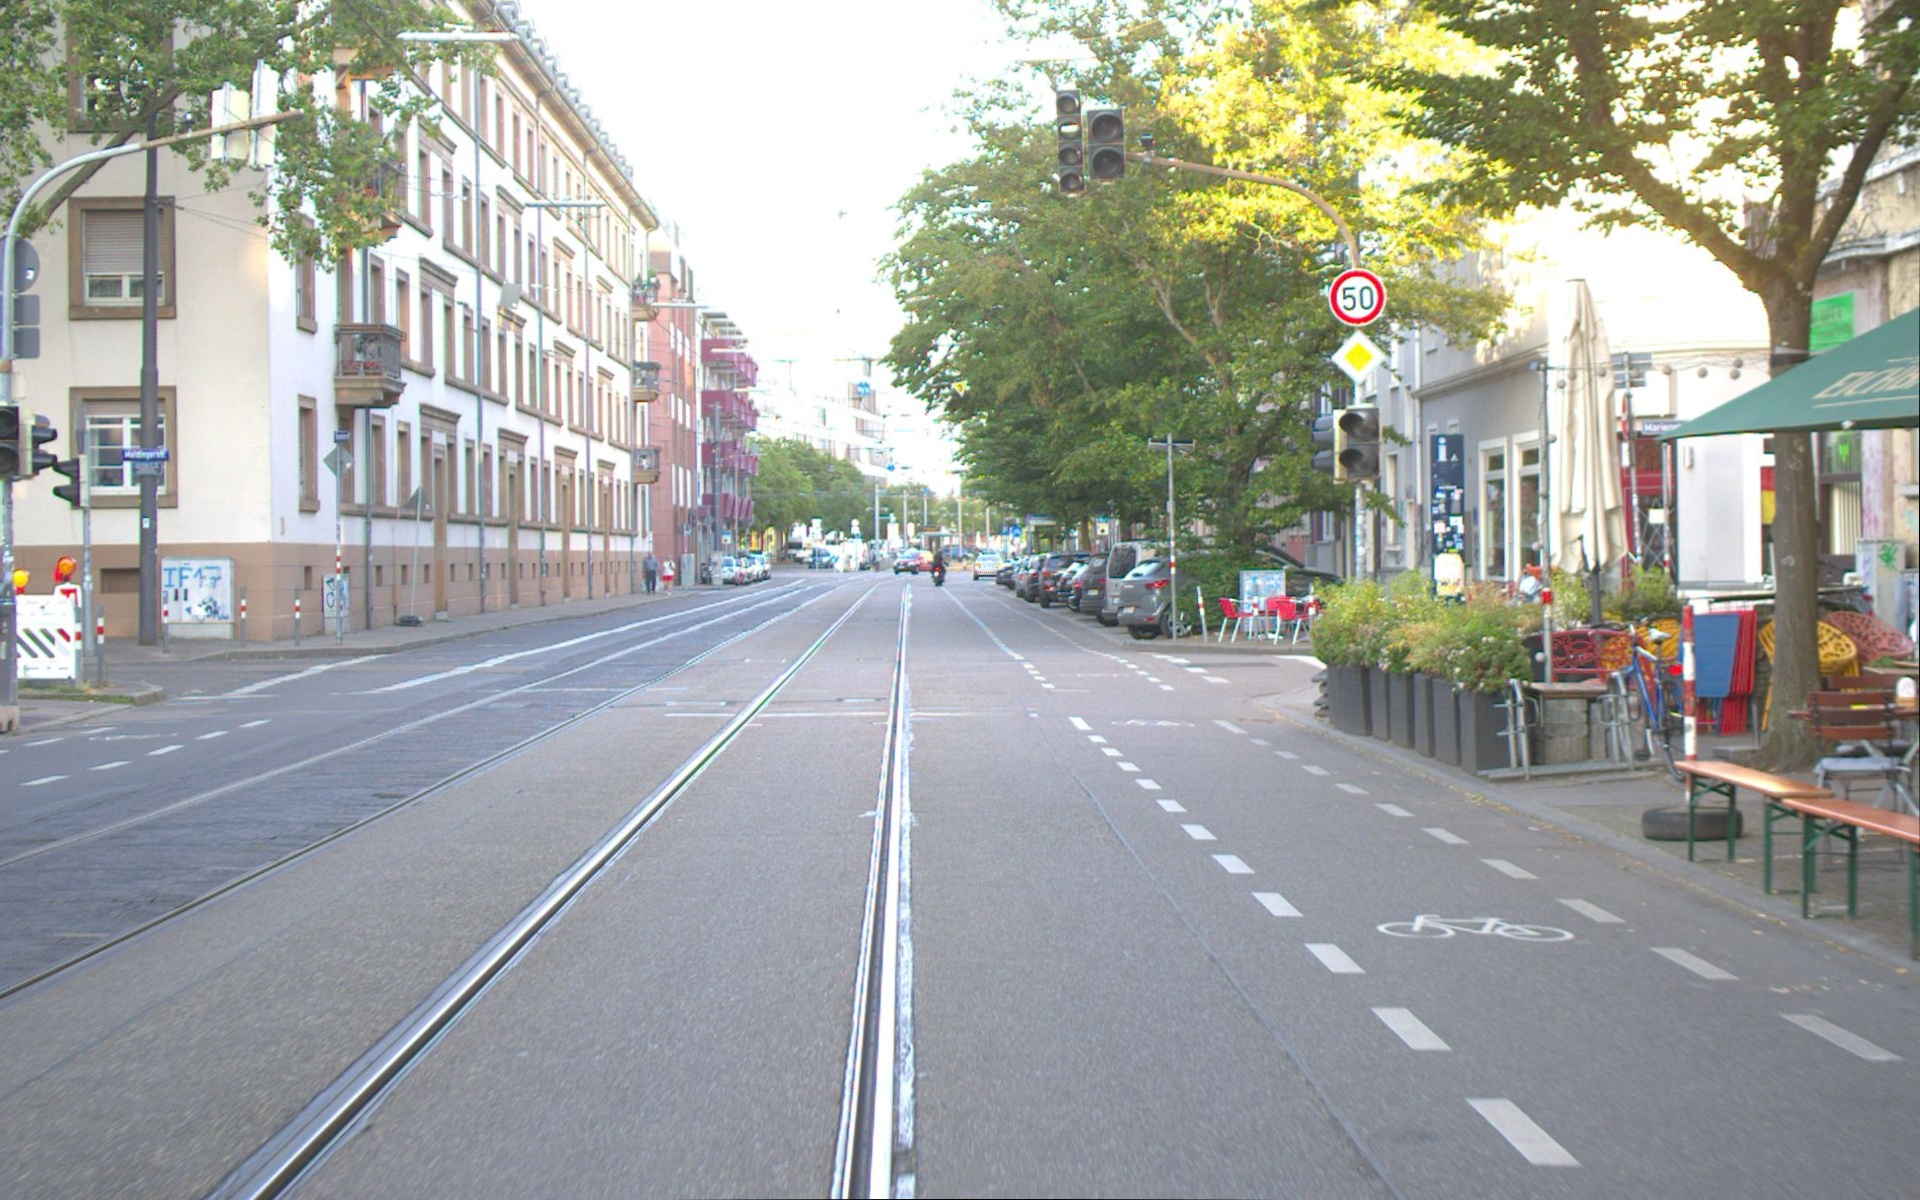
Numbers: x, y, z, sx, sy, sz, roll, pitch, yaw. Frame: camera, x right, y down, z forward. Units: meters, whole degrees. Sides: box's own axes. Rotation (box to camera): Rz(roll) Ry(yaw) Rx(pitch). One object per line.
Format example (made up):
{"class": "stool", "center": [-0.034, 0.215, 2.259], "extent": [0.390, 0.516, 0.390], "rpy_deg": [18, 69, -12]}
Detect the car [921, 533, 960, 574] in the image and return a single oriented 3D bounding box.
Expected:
{"class": "car", "center": [-0.982, -2.292, 169.319], "extent": [1.898, 2.007, 4.000], "rpy_deg": [0, 1, -1]}

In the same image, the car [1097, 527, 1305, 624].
{"class": "car", "center": [4.624, -0.477, 66.310], "extent": [3.887, 1.842, 1.861], "rpy_deg": [0, 0, 1]}

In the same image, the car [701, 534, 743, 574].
{"class": "car", "center": [-12.214, -2.374, 176.616], "extent": [1.898, 2.007, 4.000], "rpy_deg": [0, 1, -1]}

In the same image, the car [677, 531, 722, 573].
{"class": "car", "center": [-12.600, -2.330, 166.412], "extent": [1.898, 2.007, 4.000], "rpy_deg": [0, 1, -1]}

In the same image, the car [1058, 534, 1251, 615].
{"class": "car", "center": [3.994, -0.523, 71.025], "extent": [3.887, 1.655, 1.861], "rpy_deg": [0, 0, 1]}

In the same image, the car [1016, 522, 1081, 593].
{"class": "car", "center": [2.562, -1.236, 99.793], "extent": [1.721, 2.007, 4.000], "rpy_deg": [0, 1, -1]}

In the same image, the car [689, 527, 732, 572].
{"class": "car", "center": [-12.400, -2.524, 171.056], "extent": [1.898, 2.171, 4.000], "rpy_deg": [0, 1, -1]}

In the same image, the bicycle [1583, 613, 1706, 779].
{"class": "bicycle", "center": [4.498, 0.614, 22.679], "extent": [0.418, 1.012, 1.830], "rpy_deg": [0, 1, -1]}

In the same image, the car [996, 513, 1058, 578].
{"class": "car", "center": [2.115, -1.746, 109.365], "extent": [1.804, 2.007, 4.000], "rpy_deg": [0, 1, -1]}

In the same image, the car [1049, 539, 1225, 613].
{"class": "car", "center": [3.978, -0.549, 77.681], "extent": [3.887, 1.655, 1.861], "rpy_deg": [0, 1, 1]}

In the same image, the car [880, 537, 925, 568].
{"class": "car", "center": [-3.770, -3.128, 226.650], "extent": [1.995, 2.007, 3.998], "rpy_deg": [1, 1, 14]}

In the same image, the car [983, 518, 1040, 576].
{"class": "car", "center": [1.811, -1.883, 122.497], "extent": [1.898, 2.007, 4.000], "rpy_deg": [0, 1, -1]}

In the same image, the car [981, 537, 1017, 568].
{"class": "car", "center": [2.242, -2.734, 196.992], "extent": [1.963, 1.713, 4.000], "rpy_deg": [0, 1, -1]}

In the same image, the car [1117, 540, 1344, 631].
{"class": "car", "center": [4.752, -0.268, 60.830], "extent": [3.887, 1.587, 1.861], "rpy_deg": [0, 1, 1]}
